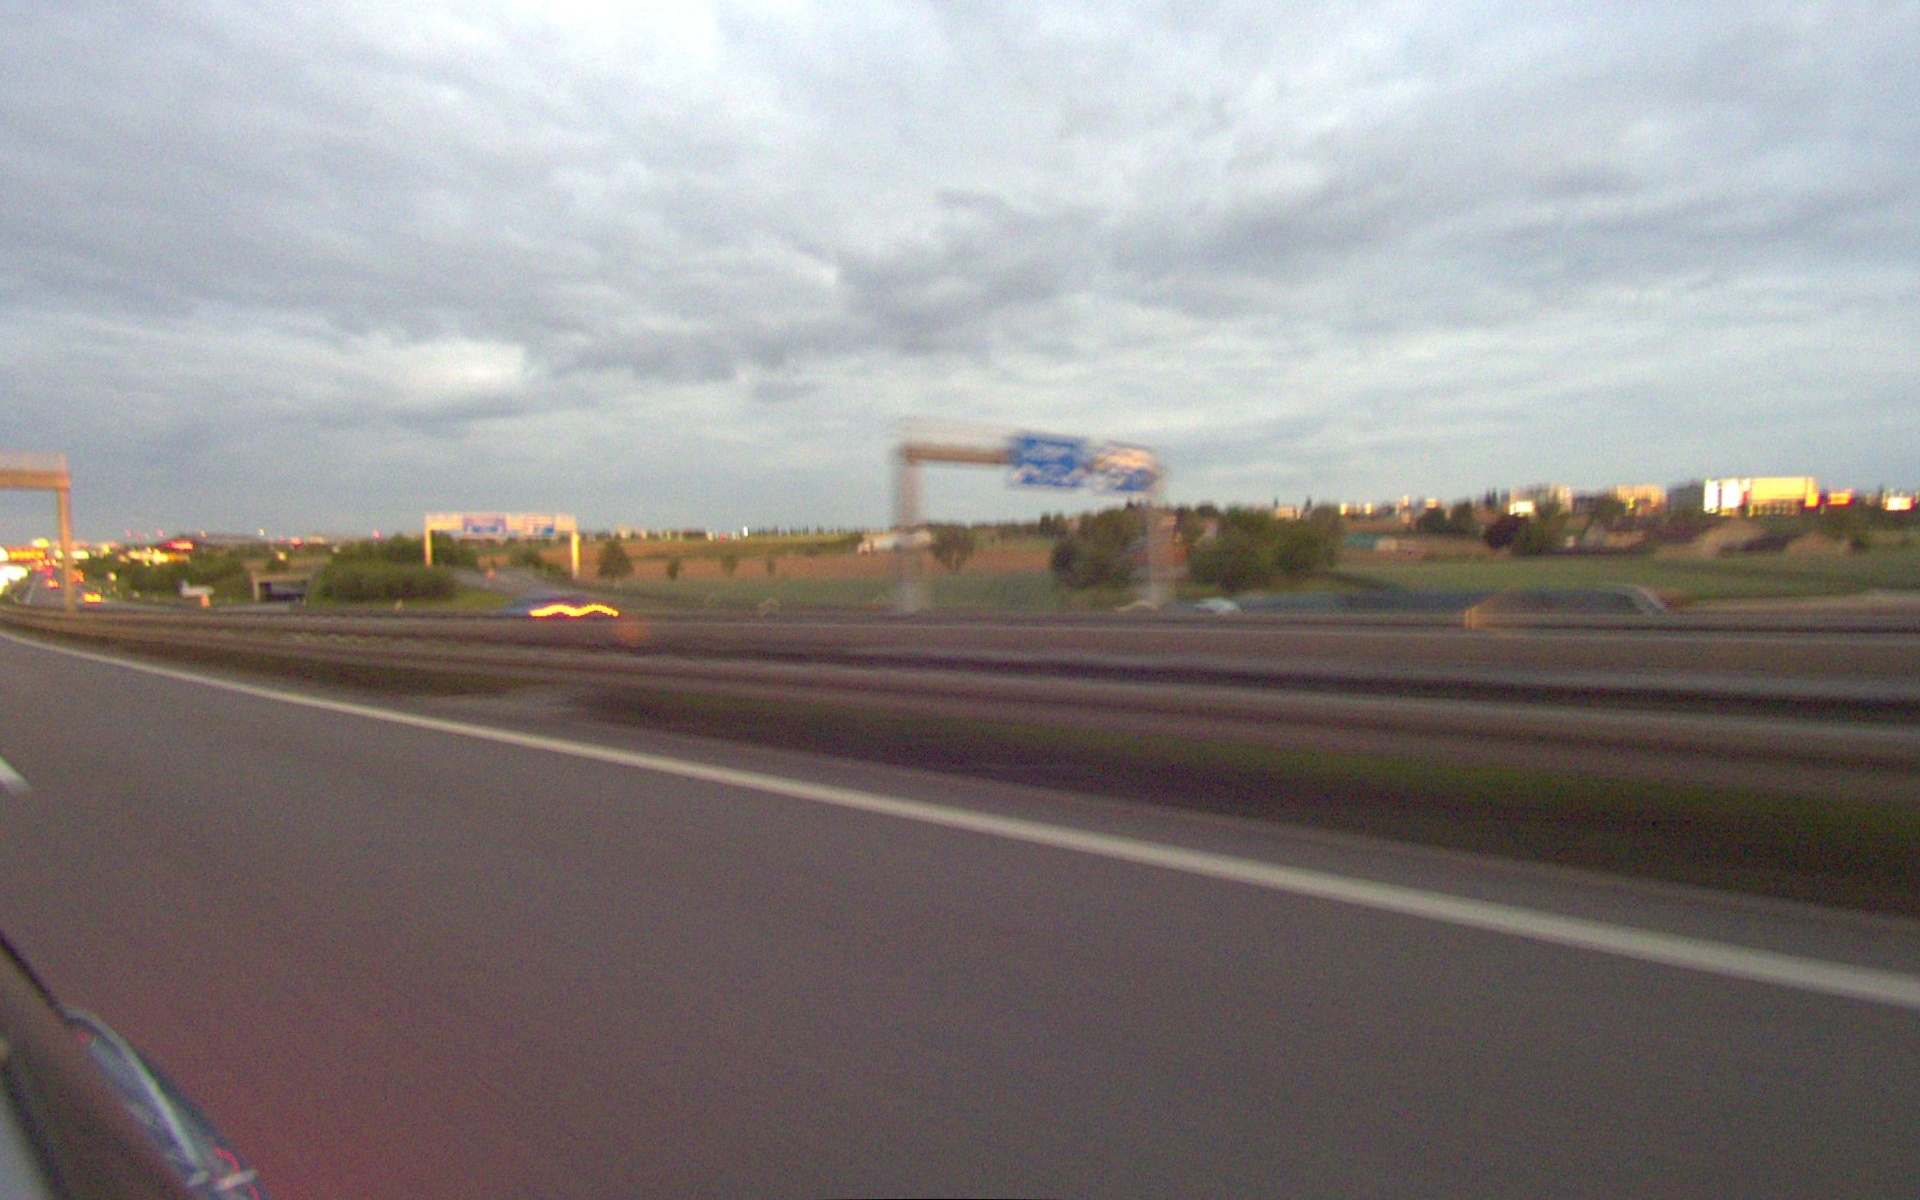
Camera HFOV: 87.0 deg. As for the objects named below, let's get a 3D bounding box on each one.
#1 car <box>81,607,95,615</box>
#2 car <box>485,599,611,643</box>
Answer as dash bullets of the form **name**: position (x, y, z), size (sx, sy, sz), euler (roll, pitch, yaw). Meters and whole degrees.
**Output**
- **car**: position (-160.818, 2.036, 186.684), size (1.969, 1.414, 4.336), euler (0, -1, -41)
- **car**: position (-14.138, 0.726, 34.587), size (4.862, 1.368, 1.973), euler (-2, -1, 41)
